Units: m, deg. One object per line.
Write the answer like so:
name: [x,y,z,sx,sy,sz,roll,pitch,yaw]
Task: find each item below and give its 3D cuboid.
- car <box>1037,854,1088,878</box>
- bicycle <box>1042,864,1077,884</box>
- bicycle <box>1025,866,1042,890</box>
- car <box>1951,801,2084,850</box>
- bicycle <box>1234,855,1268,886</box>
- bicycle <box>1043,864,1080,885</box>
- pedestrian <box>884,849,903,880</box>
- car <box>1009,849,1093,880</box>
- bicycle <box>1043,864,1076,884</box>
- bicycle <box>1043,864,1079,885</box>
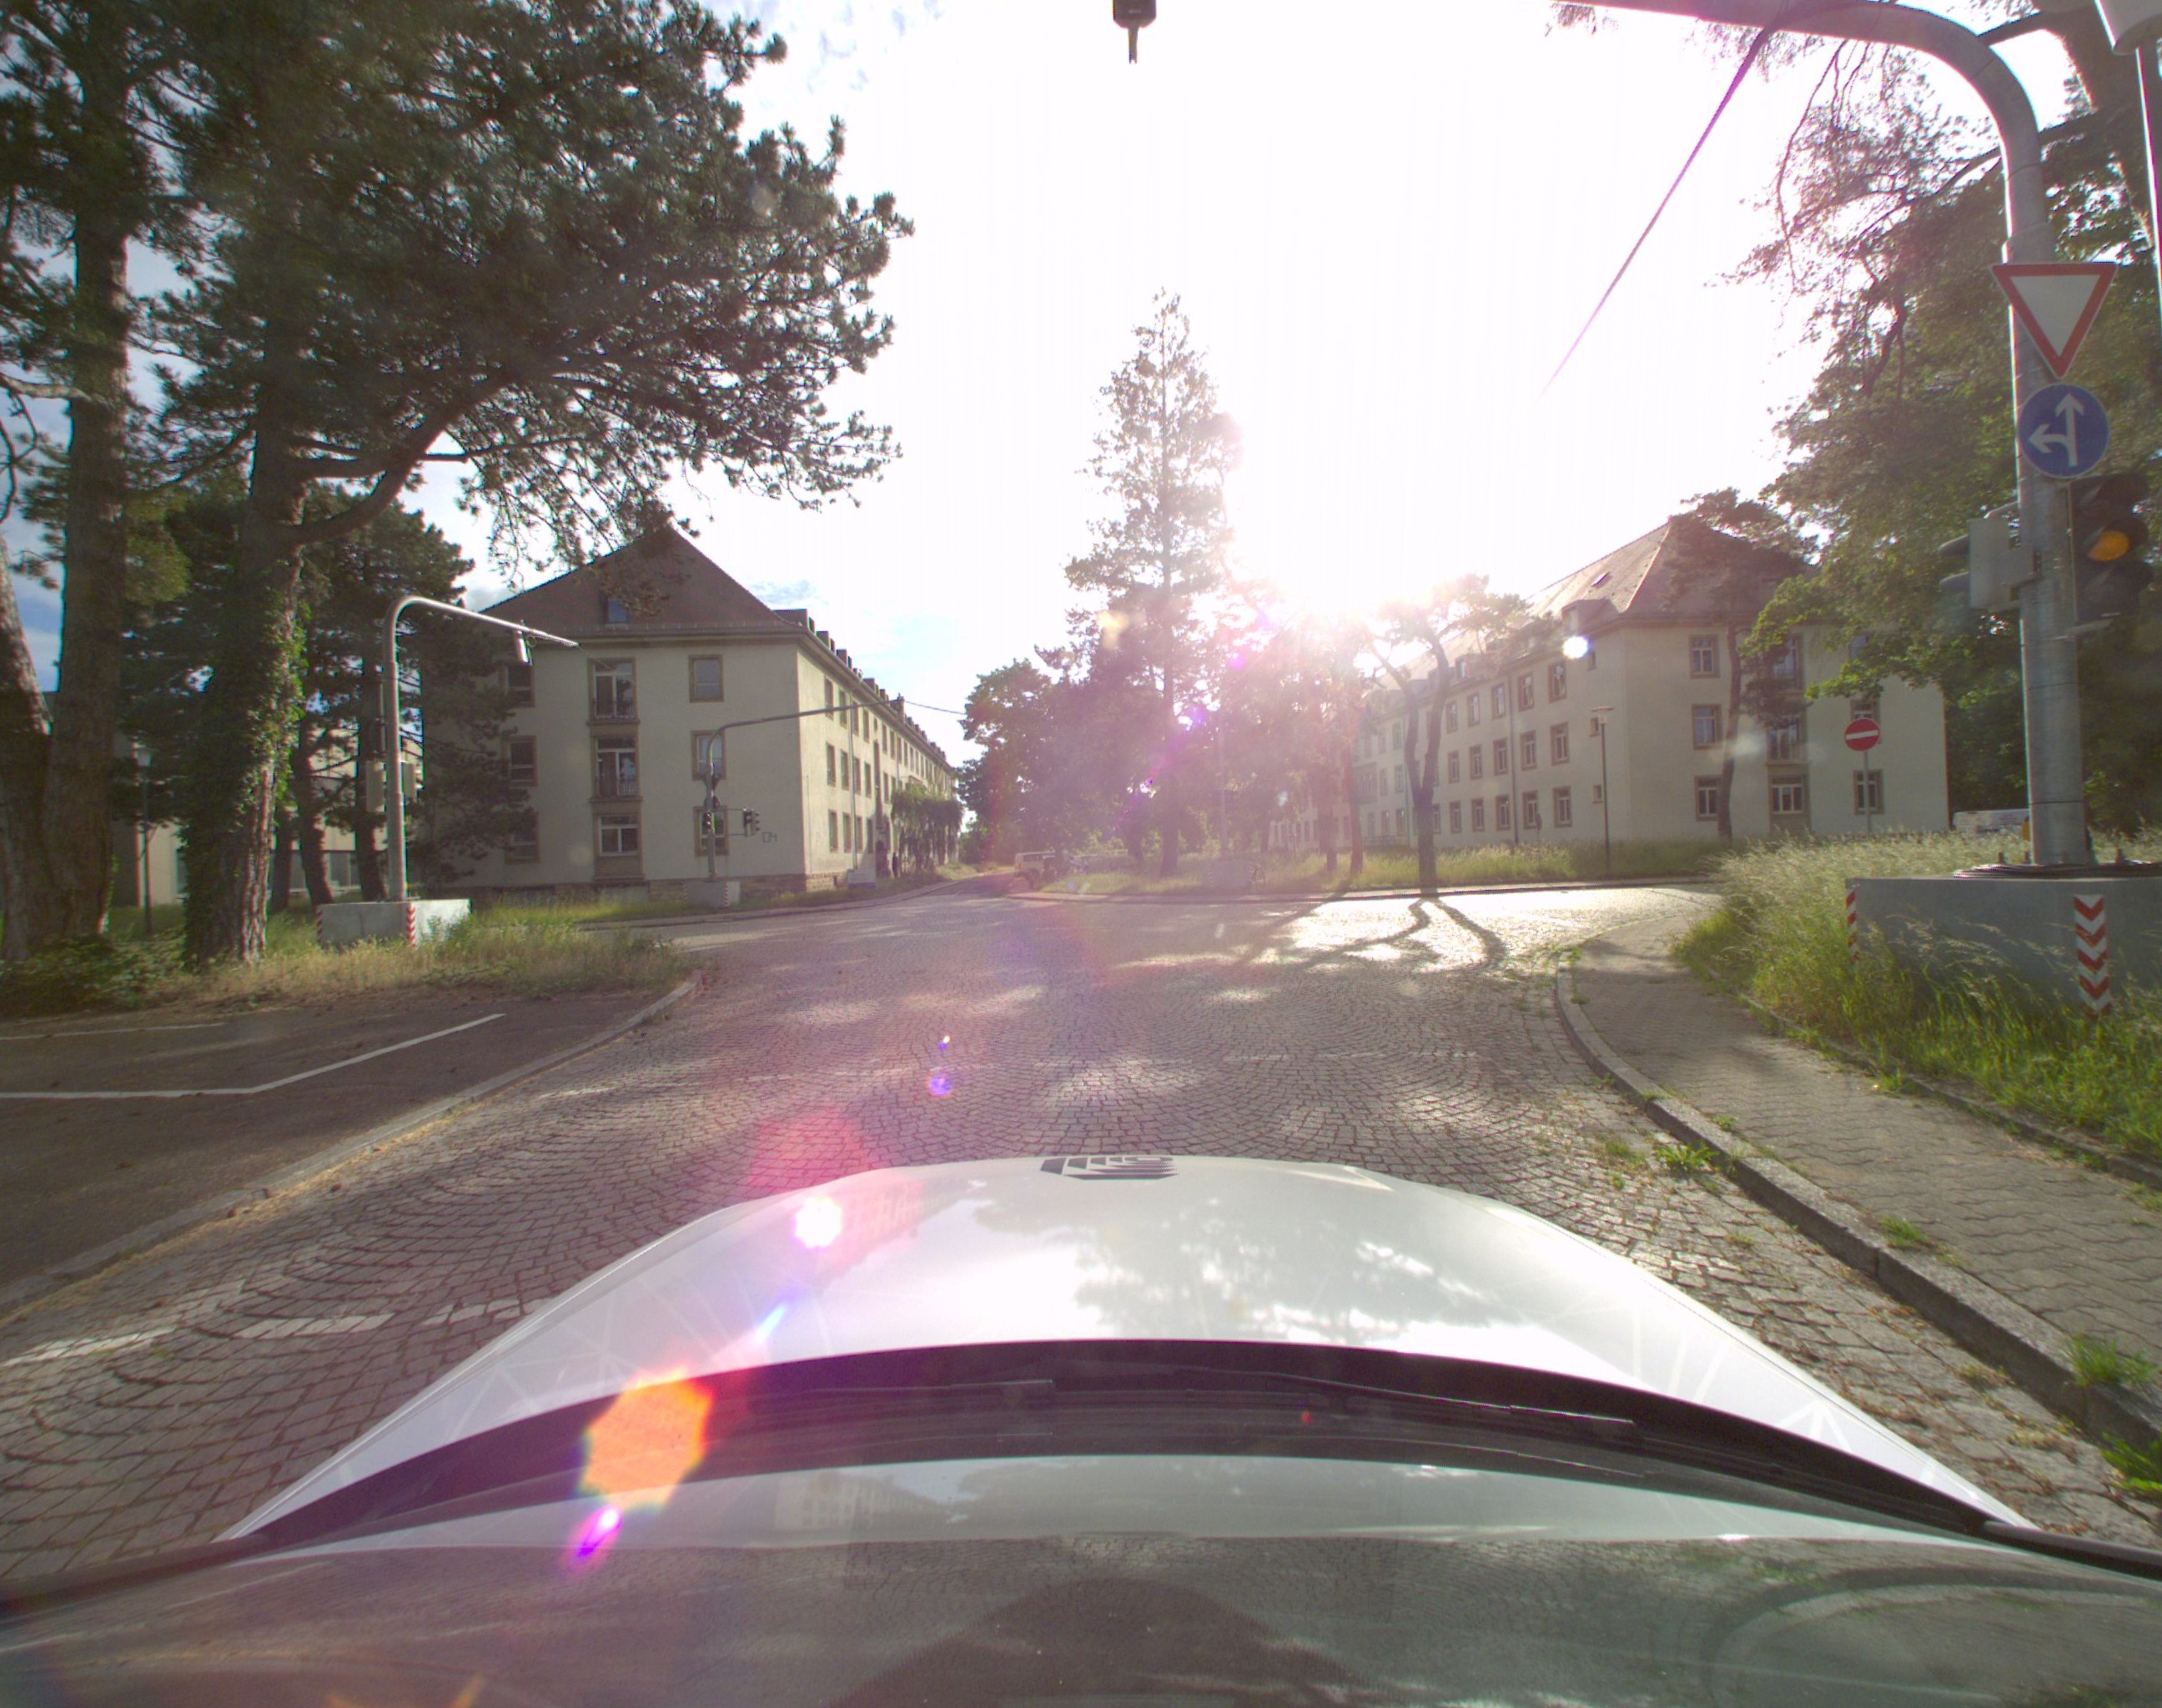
car: [-1.265,0.801,54.040,3.038,1.465,1.711,-2,-1,-16]
bicycle: [-1.168,1.072,44.188,1.789,0.999,0.643,-3,1,-5]
bicycle: [-2.197,1.108,38.008,0.726,0.999,1.797,-3,1,-3]
car: [54.035,-1.631,47.075,5.145,2.536,2.262,-2,-1,-2]
bicycle: [5.819,0.546,27.917,0.562,0.999,1.748,-3,1,-7]
bicycle: [-1.009,1.039,41.675,1.789,0.999,0.643,-3,1,-5]
pedestrian: [-12.283,0.683,53.344,0.983,1.963,0.931,-2,-1,-4]
car: [-2.109,0.742,57.558,5.514,1.916,2.241,-2,-1,-17]
bicycle: [-1.198,1.080,44.925,1.789,0.999,0.643,-3,1,-5]
bicycle: [-1.060,1.053,42.693,1.789,0.999,0.643,-3,1,-5]
